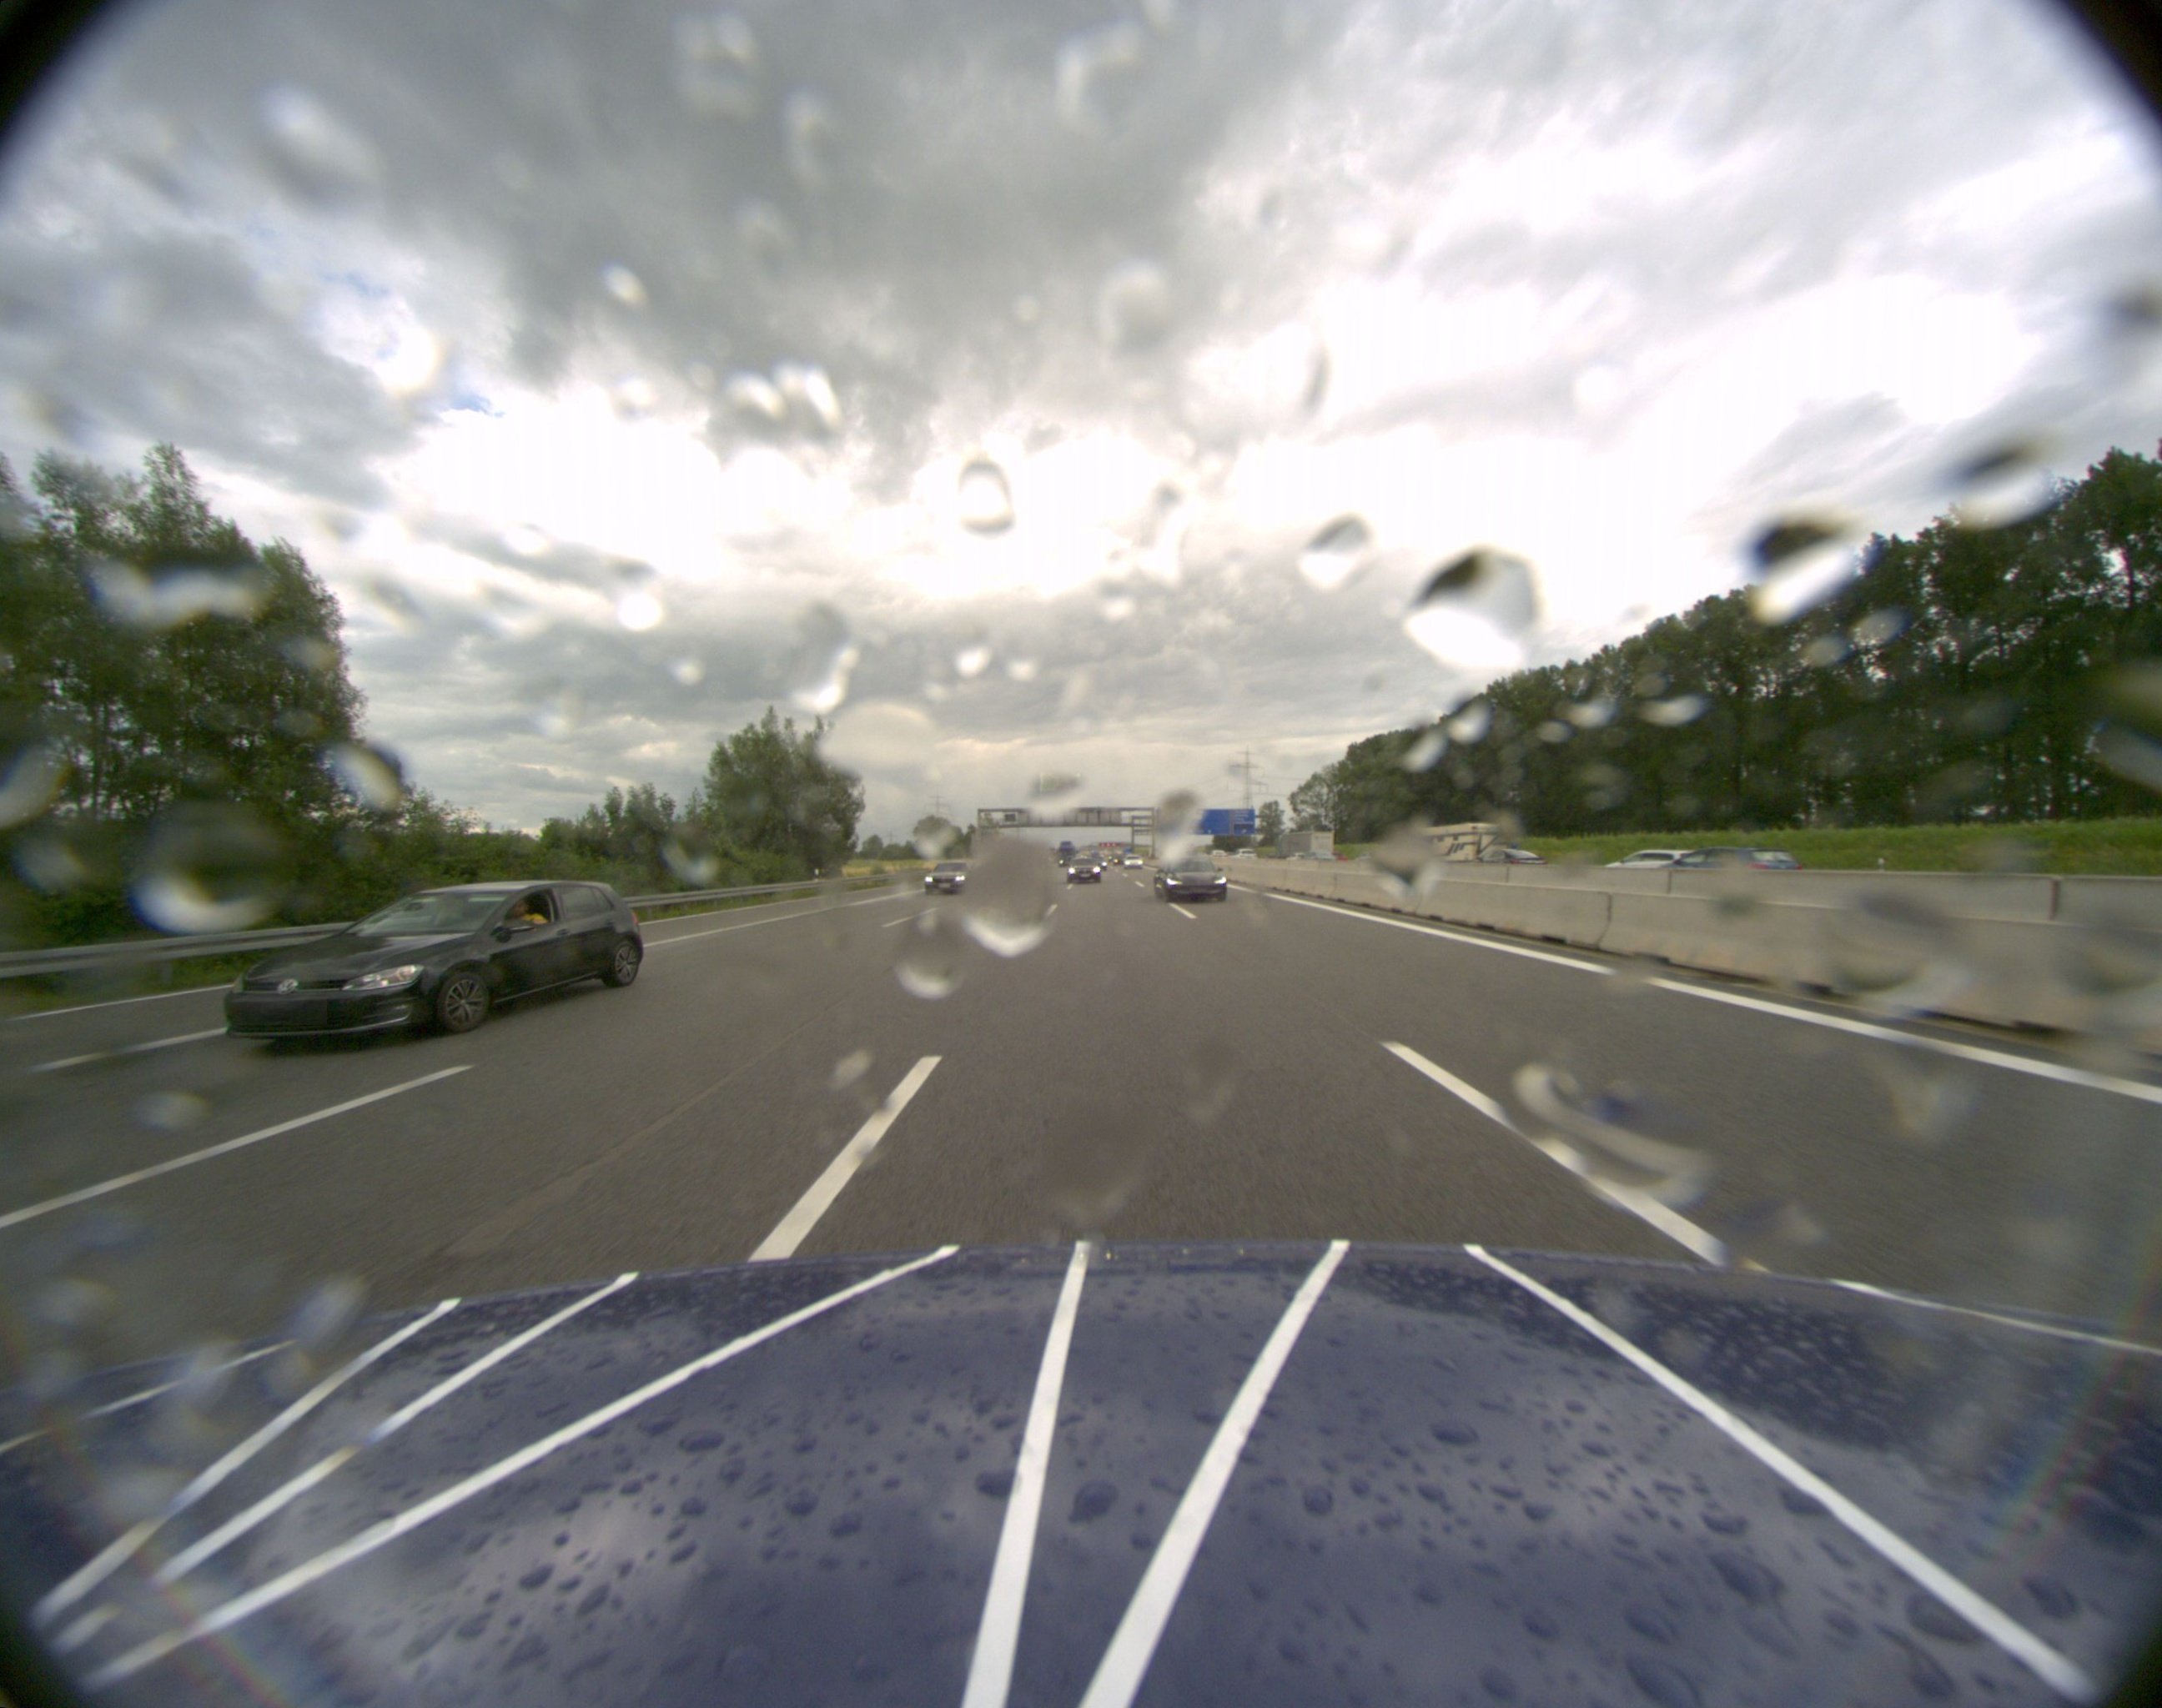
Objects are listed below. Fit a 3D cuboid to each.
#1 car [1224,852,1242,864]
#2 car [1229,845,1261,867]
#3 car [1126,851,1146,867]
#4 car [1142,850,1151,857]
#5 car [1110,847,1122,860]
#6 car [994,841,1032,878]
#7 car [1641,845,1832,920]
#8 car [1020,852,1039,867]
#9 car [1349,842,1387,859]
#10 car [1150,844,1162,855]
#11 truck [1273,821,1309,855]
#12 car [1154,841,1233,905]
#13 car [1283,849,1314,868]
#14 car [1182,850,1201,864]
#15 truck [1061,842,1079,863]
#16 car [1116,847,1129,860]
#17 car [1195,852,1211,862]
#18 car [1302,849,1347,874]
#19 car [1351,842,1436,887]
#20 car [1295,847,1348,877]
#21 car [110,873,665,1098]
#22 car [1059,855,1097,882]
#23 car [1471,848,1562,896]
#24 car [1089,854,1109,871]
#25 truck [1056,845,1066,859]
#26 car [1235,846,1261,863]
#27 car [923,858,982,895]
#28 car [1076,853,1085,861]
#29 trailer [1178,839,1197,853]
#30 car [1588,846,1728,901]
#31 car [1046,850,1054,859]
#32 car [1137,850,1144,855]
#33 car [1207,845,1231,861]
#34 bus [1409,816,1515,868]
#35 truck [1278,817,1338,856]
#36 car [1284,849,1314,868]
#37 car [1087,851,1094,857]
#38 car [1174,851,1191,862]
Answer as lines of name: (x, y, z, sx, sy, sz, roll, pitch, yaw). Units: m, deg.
car: (25.028, 0.620, 125.232, 1.998, 1.842, 5.078, -1, 0, 1)
car: (15.532, 0.173, 72.112, 1.998, 2.002, 4.763, -2, 0, 1)
car: (5.586, 0.513, 77.740, 1.822, 1.565, 4.000, -2, 0, 1)
car: (17.574, -0.179, 203.133, 1.999, 1.717, 4.017, -2, 0, 0)
car: (6.922, -0.127, 149.364, 2.144, 2.486, 5.449, -2, 0, 4)
car: (-4.856, 0.388, 55.036, 2.145, 2.486, 5.447, -2, 0, 0)
car: (19.491, 0.769, 22.923, 1.854, 2.002, 4.536, -2, 0, 0)
car: (-5.776, 0.580, 85.040, 1.999, 1.632, 4.629, -1, 0, -3)
car: (27.809, -0.340, 73.746, 1.999, 1.608, 4.401, -2, 0, -1)
car: (16.924, -1.013, 172.071, 1.999, 2.601, 6.342, -2, 0, 0)
truck: (27.610, -2.011, 99.995, 3.126, 4.257, 5.911, -1, 0, 1)
car: (3.512, 0.552, 24.722, 1.998, 1.810, 5.163, -2, 0, 3)
car: (23.372, 0.456, 81.654, 1.999, 1.844, 4.401, -2, 0, -1)
car: (15.881, 0.454, 109.367, 1.998, 1.886, 5.186, -2, 0, 1)
truck: (-1.611, -0.217, 108.333, 2.391, 2.726, 6.593, -2, 0, -1)
car: (5.650, -0.077, 104.391, 1.711, 1.621, 4.001, -2, 0, 3)
car: (20.772, 0.481, 129.743, 1.998, 1.694, 5.078, -1, 0, 1)
car: (18.941, 0.534, 59.266, 1.998, 1.818, 4.638, -2, 0, 1)
car: (15.272, 0.491, 37.494, 1.998, 2.002, 5.181, -2, 0, 0)
car: (15.986, 0.523, 50.792, 1.999, 1.844, 4.635, -2, 0, -1)
car: (-6.733, 1.104, 8.251, 1.711, 1.621, 4.457, -2, 0, 3)
car: (-0.120, 0.765, 42.794, 1.922, 1.407, 4.000, -1, 0, 2)
car: (19.518, 0.766, 34.260, 1.809, 2.002, 4.000, -2, 0, 0)
car: (1.765, 0.781, 74.045, 1.711, 1.562, 4.347, -2, 0, 3)
truck: (-3.924, -0.346, 150.341, 1.790, 2.660, 5.768, -2, 0, 1)
car: (19.949, 0.025, 90.931, 1.998, 1.922, 4.638, -2, 0, 1)
car: (-5.944, 1.000, 35.725, 1.944, 1.482, 4.775, -2, 0, 0)
car: (-0.056, 0.619, 184.418, 1.998, 1.810, 5.162, -2, 0, 1)
trailer: (28.921, -2.208, 207.071, 3.117, 3.487, 14.451, -2, 0, 0)
car: (23.025, 0.724, 30.617, 1.998, 2.002, 4.808, -2, 0, 0)
car: (-7.461, 0.156, 183.994, 1.836, 2.002, 3.862, -2, 0, -1)
car: (20.279, -0.537, 260.529, 1.998, 1.717, 4.017, -2, 0, 0)
car: (16.572, -0.154, 91.644, 1.998, 1.842, 5.078, -1, 0, 1)
bus: (27.121, -0.784, 54.764, 2.838, 3.313, 9.964, -2, 0, 2)
truck: (27.580, -2.038, 93.216, 3.156, 4.288, 13.951, -2, 0, 1)
car: (23.485, 0.475, 82.038, 1.998, 2.002, 4.638, -2, 0, 1)
car: (2.782, -0.017, 221.140, 1.998, 1.801, 4.273, -1, 0, 0)
car: (17.195, 0.379, 128.746, 1.999, 1.874, 5.186, -2, 0, 0)
